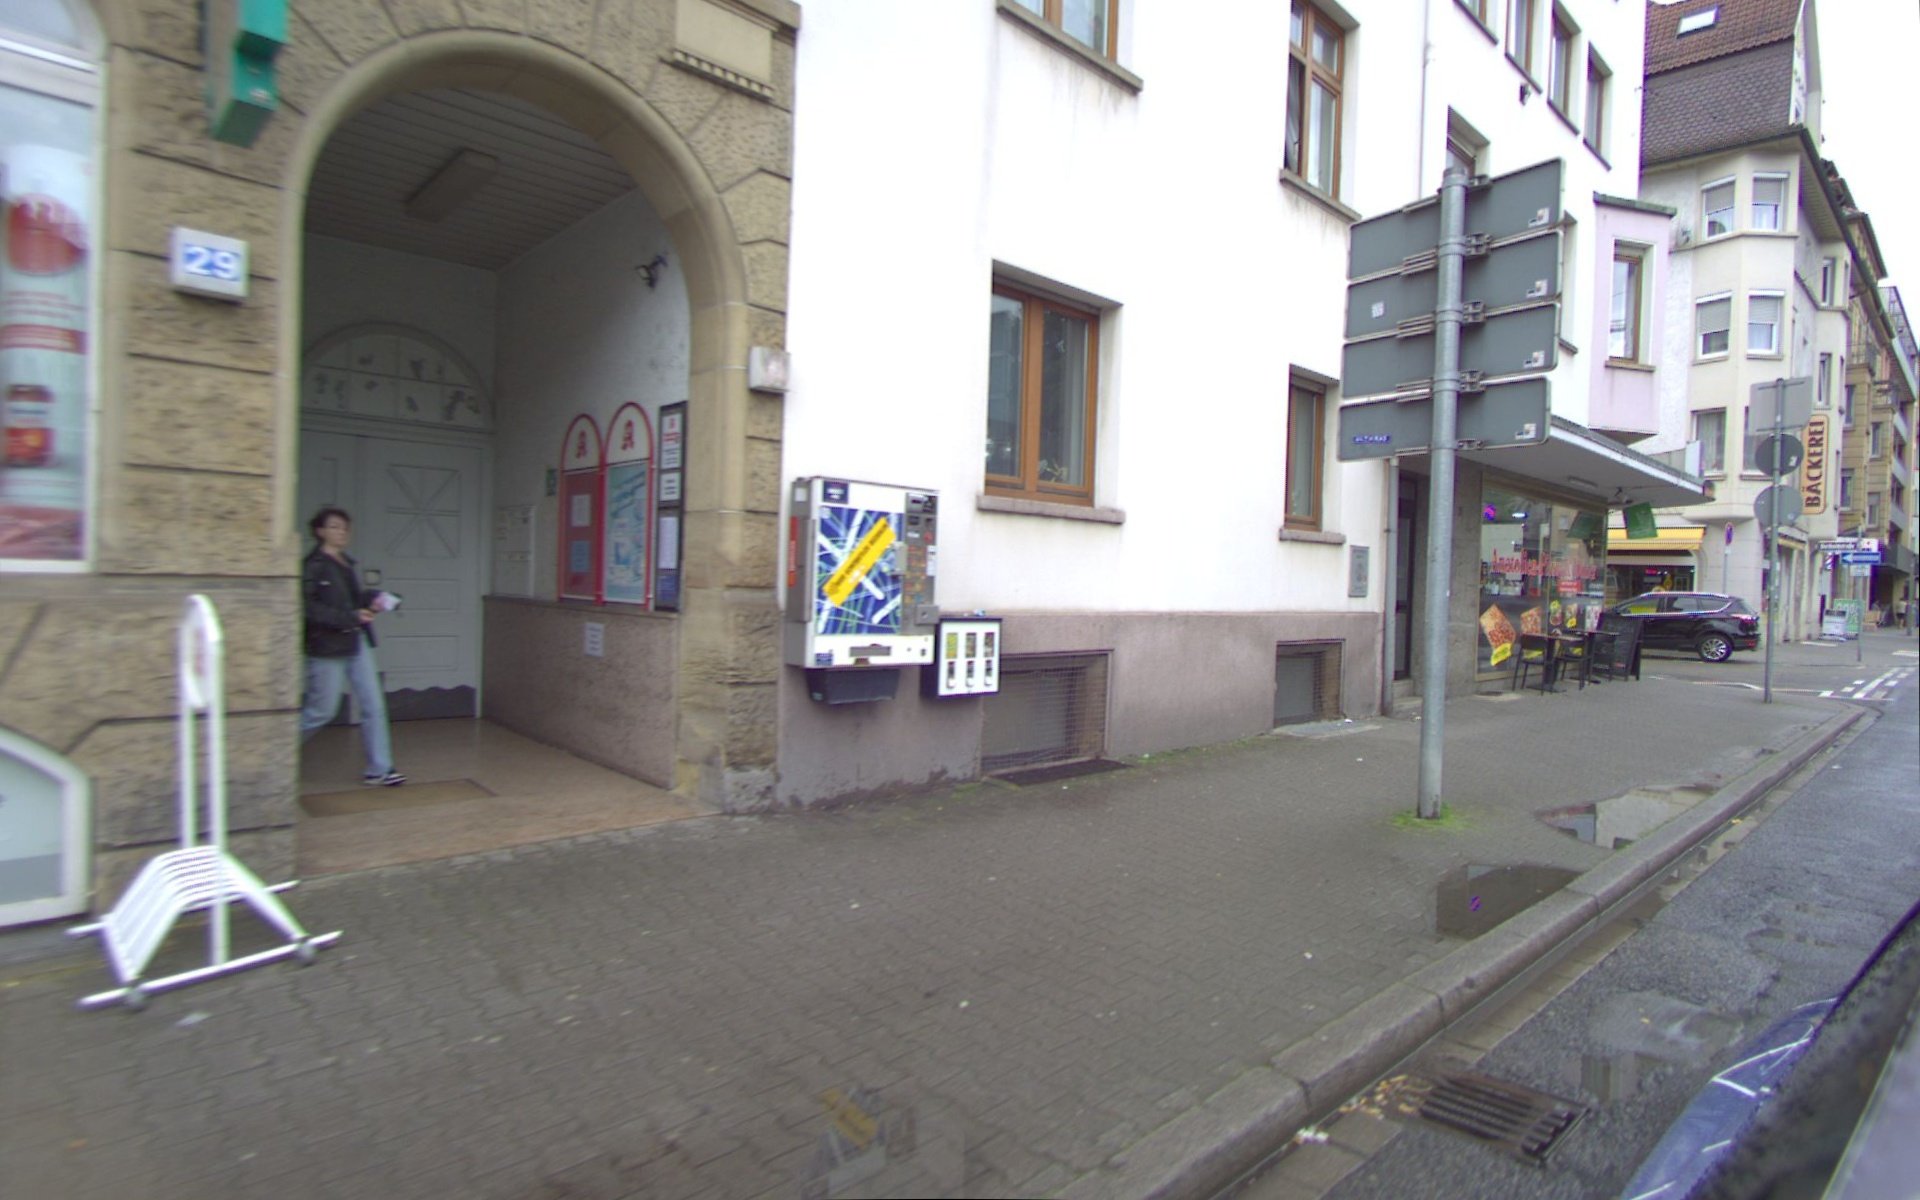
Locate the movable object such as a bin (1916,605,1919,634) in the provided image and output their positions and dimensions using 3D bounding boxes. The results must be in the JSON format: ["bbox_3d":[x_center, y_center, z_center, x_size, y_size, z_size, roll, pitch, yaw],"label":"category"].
[{"bbox_3d":[62.272,1.280,65.137,1.000,1.815,1.275,3,2,45],"label":"movable object such as a bin"}]

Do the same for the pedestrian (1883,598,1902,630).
[{"bbox_3d":[47.155,0.717,51.180,0.558,1.592,0.620,1,0,30],"label":"pedestrian"}]

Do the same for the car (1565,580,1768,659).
[{"bbox_3d":[18.079,0.429,26.006,4.131,1.794,1.847,2,2,39],"label":"car"}]

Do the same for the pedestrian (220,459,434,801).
[{"bbox_3d":[-3.472,0.154,5.633,0.882,1.741,0.676,1,1,-23],"label":"pedestrian"}]
